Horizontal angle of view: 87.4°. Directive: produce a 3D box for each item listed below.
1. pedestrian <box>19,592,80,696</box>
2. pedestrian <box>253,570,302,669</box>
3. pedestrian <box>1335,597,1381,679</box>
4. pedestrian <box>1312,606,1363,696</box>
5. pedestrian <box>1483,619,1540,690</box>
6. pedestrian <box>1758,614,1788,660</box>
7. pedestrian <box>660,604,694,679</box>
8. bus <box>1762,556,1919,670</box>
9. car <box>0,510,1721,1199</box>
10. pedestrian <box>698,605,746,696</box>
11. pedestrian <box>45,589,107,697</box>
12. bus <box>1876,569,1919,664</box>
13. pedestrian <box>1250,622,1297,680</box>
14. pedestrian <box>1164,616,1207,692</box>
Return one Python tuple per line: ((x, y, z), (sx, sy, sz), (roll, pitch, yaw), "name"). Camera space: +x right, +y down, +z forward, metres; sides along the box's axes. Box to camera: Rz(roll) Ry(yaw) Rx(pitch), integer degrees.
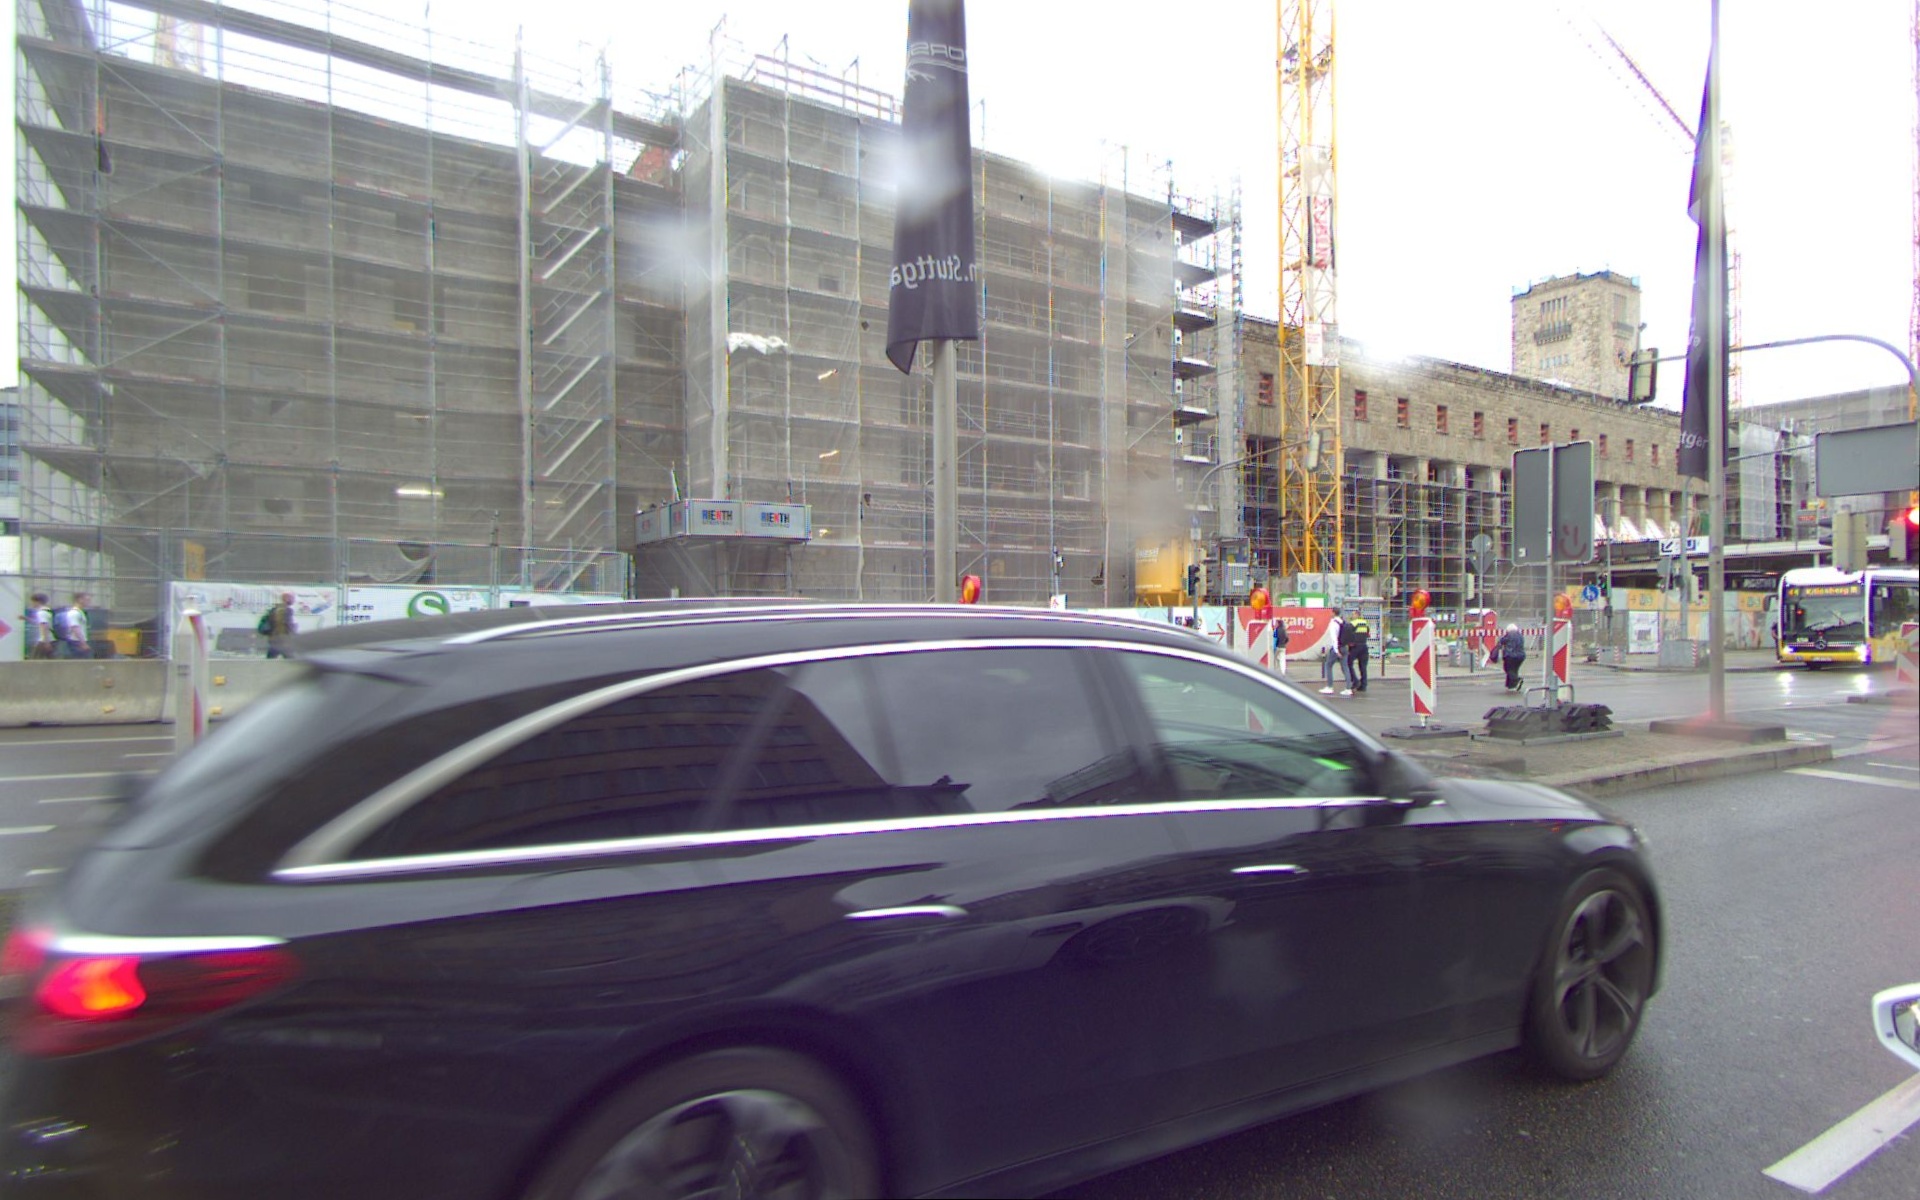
((-16.570, 0.787, 18.291), (0.709, 1.860, 0.478), (1, 0, -30), "pedestrian")
((-13.058, 0.368, 19.225), (0.709, 1.860, 0.478), (1, 0, -30), "pedestrian")
((9.231, 0.880, 23.311), (0.810, 1.860, 0.575), (1, 0, -30), "pedestrian")
((8.242, 1.099, 21.918), (0.614, 1.915, 0.793), (1, 0, -38), "pedestrian")
((12.759, 1.252, 23.238), (0.772, 1.581, 0.875), (1, 0, -4), "pedestrian")
((30.378, 1.375, 37.547), (0.637, 1.703, 0.656), (1, 0, -30), "pedestrian")
((-7.194, 1.048, 25.554), (0.709, 1.860, 0.478), (1, 0, -30), "pedestrian")
((32.561, 0.517, 35.839), (10.119, 3.650, 2.655), (2, 0, -30), "bus")
((0.201, 0.678, 3.120), (4.533, 1.489, 1.846), (2, 0, -30), "car")
((-5.000, 1.042, 21.080), (0.810, 1.860, 0.575), (1, 0, -30), "pedestrian")
((-15.548, 0.739, 17.682), (0.709, 1.860, 0.478), (1, 0, -30), "pedestrian")
((41.284, 0.774, 41.122), (10.092, 3.650, 2.655), (2, 0, -30), "bus")
((8.952, 1.434, 28.676), (0.890, 1.584, 0.909), (1, 0, -33), "pedestrian")
((5.278, 1.267, 23.546), (0.613, 1.740, 0.794), (1, -2, -33), "pedestrian")
